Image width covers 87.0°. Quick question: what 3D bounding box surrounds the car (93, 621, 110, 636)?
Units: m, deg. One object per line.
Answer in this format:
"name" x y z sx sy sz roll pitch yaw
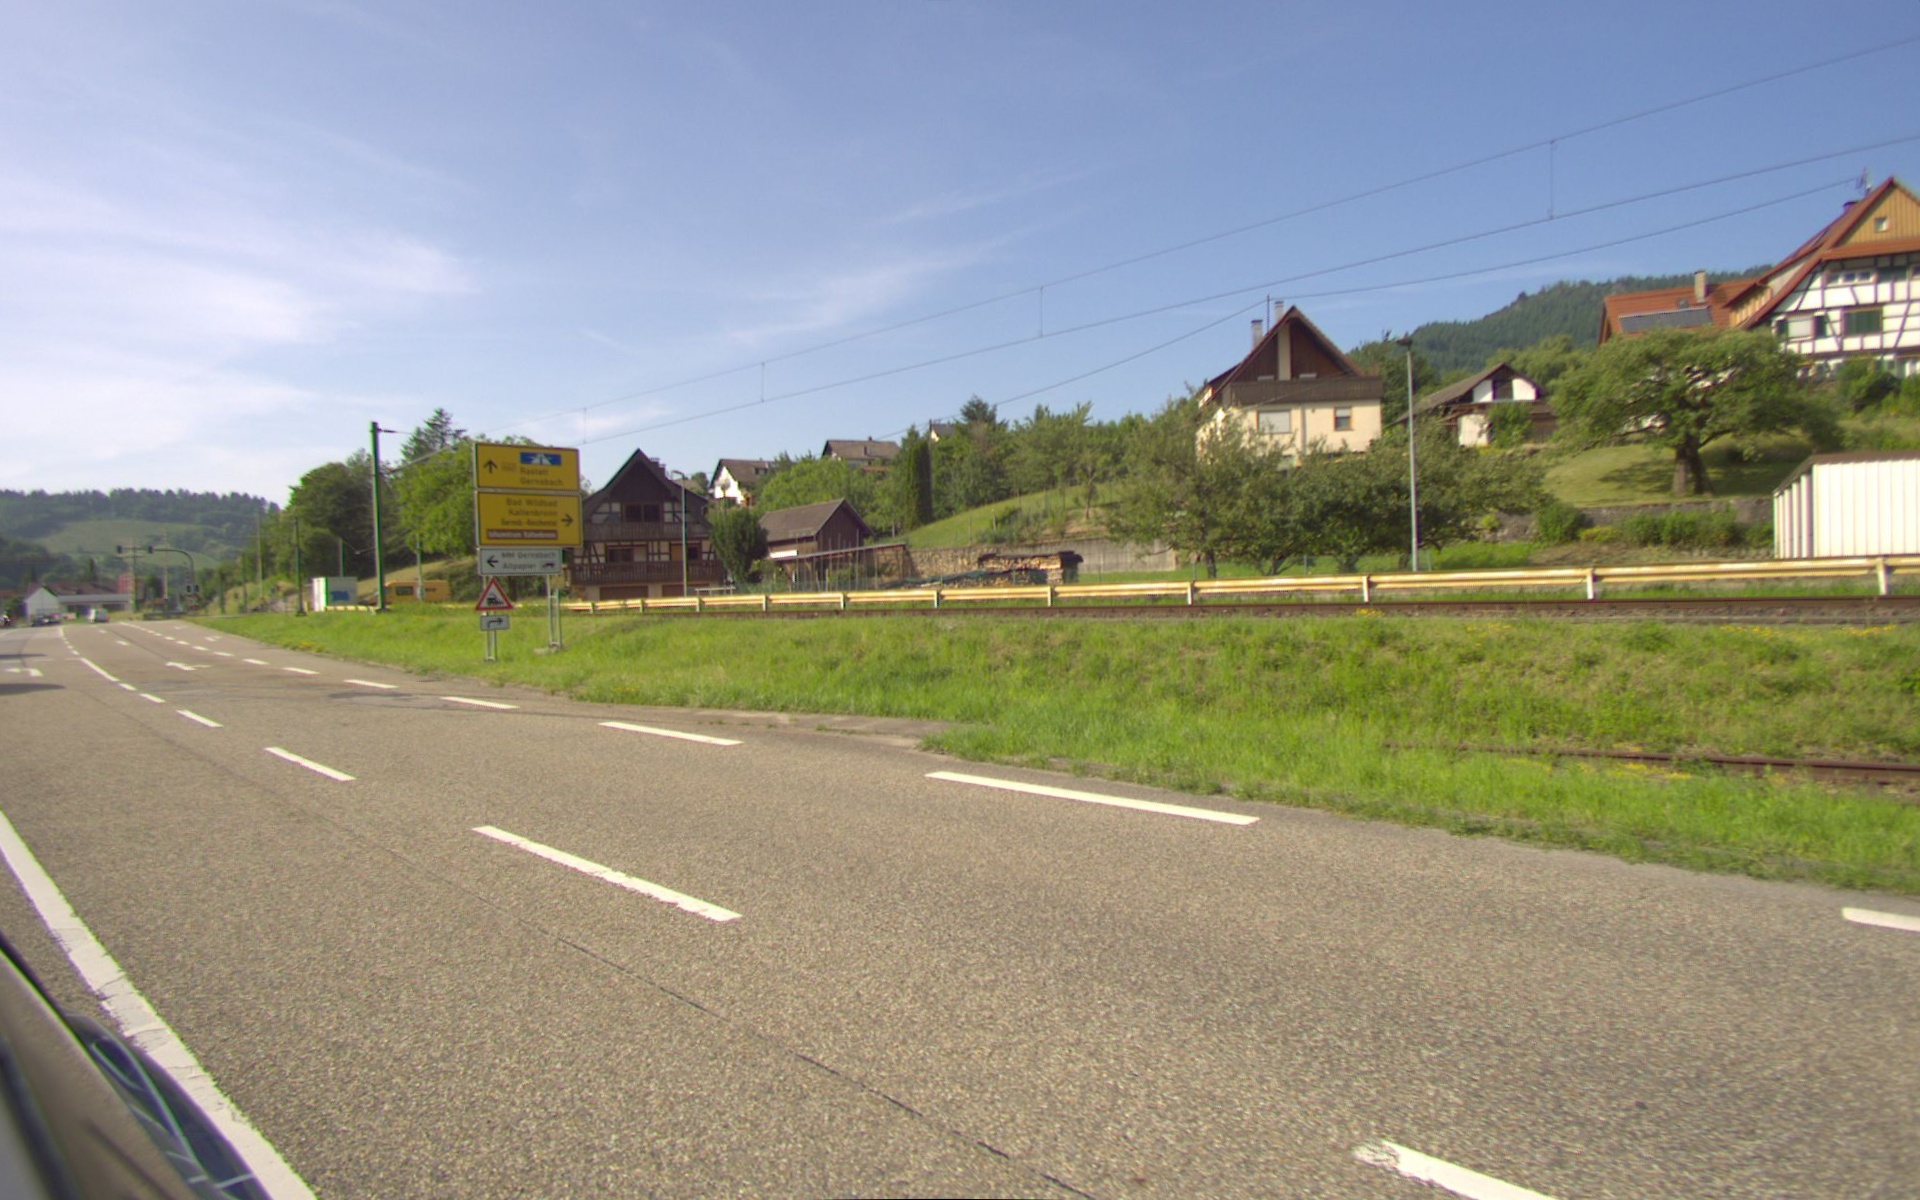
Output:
"car" -144.143 4.789 169.905 2.093 2.454 5.236 -4 1 -40

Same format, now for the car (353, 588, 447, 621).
"car" -49.258 0.359 89.087 6.968 2.475 2.957 -4 1 -32

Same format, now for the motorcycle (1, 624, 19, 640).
"motorcycle" -79.493 2.648 84.681 0.990 1.277 2.596 -5 2 -42

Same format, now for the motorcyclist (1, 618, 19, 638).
"motorcyclist" -79.633 2.363 84.830 0.977 1.555 1.187 -5 3 -42
